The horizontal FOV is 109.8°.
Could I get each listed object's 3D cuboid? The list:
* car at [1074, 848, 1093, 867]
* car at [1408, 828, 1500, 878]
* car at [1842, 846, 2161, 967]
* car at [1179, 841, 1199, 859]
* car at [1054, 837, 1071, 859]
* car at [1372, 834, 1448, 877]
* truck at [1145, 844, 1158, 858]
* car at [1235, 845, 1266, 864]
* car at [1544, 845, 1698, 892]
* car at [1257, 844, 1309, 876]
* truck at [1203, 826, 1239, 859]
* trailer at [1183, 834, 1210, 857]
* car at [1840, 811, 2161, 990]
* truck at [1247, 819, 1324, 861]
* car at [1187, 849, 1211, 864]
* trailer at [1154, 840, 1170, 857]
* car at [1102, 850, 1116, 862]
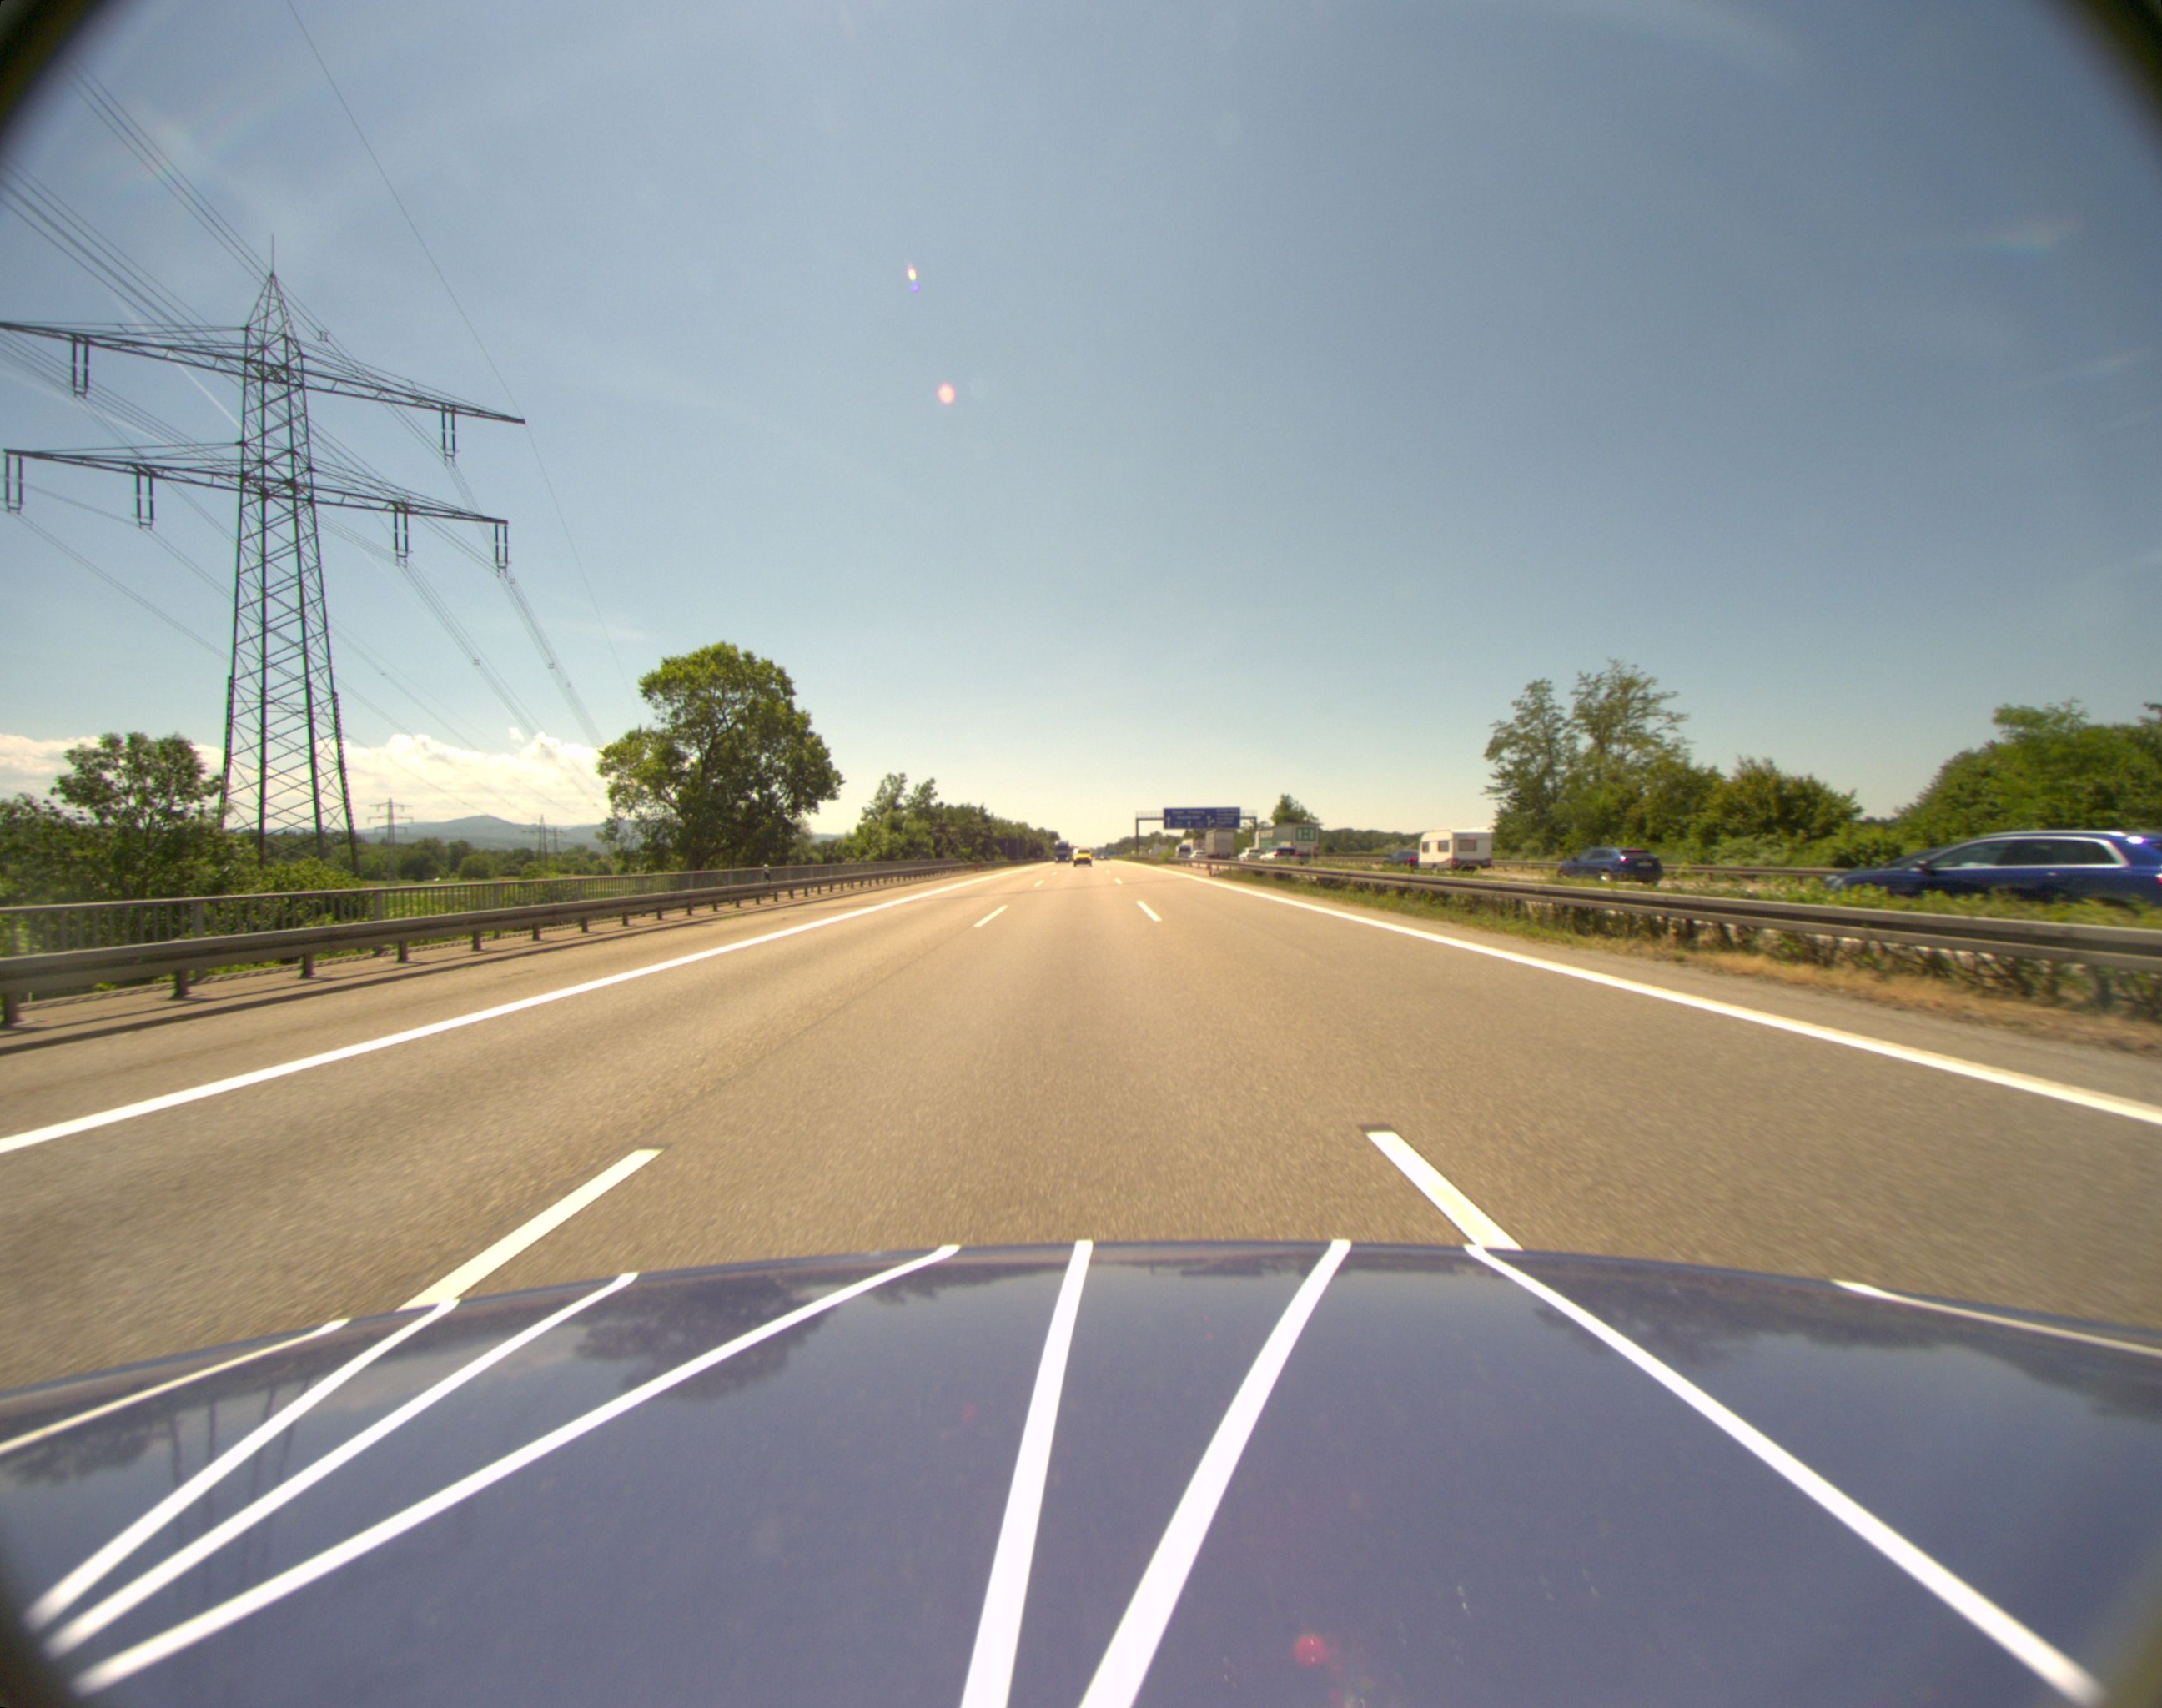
[{"bbox_3d":[0.318,0.349,80.956,1.955,2.002,5.432,-1,0,1],"label":"car"},{"bbox_3d":[20.809,-0.077,42.744,2.424,2.599,5.716,0,0,1],"label":"car"},{"bbox_3d":[16.565,0.730,12.922,2.393,1.630,4.819,-2,0,1],"label":"car"},{"bbox_3d":[15.910,-0.603,112.454,2.174,2.569,6.038,-1,0,1],"label":"car"},{"bbox_3d":[-3.249,-1.043,133.902,2.686,3.724,6.270,-1,0,1],"label":"car"},{"bbox_3d":[20.961,0.049,48.778,2.424,2.599,5.716,0,0,1],"label":"car"},{"bbox_3d":[22.319,-0.864,240.889,3.243,4.110,8.606,-2,0,0],"label":"truck"},{"bbox_3d":[16.982,0.050,76.417,2.080,1.820,5.108,0,0,1],"label":"car"},{"bbox_3d":[20.357,0.509,28.982,2.489,1.627,4.750,0,0,1],"label":"car"},{"bbox_3d":[13.751,0.397,51.947,2.303,2.002,4.557,-2,0,1],"label":"car"},{"bbox_3d":[17.710,-1.505,96.660,2.863,3.896,9.493,-2,2,1],"label":"truck"},{"bbox_3d":[22.154,-1.541,146.571,2.750,4.182,13.946,-2,0,-1],"label":"trailer"},{"bbox_3d":[12.895,0.452,8.791,2.489,1.920,5.739,-2,0,1],"label":"car"},{"bbox_3d":[20.952,-1.359,79.395,3.252,3.780,17.011,-2,0,0],"label":"truck"},{"bbox_3d":[13.858,0.271,89.241,2.080,1.781,5.108,0,0,1],"label":"car"},{"bbox_3d":[22.280,-1.502,208.742,2.750,4.282,13.947,-2,0,0],"label":"trailer"},{"bbox_3d":[5.705,0.391,153.854,2.686,2.510,5.967,-1,0,1],"label":"car"}]
